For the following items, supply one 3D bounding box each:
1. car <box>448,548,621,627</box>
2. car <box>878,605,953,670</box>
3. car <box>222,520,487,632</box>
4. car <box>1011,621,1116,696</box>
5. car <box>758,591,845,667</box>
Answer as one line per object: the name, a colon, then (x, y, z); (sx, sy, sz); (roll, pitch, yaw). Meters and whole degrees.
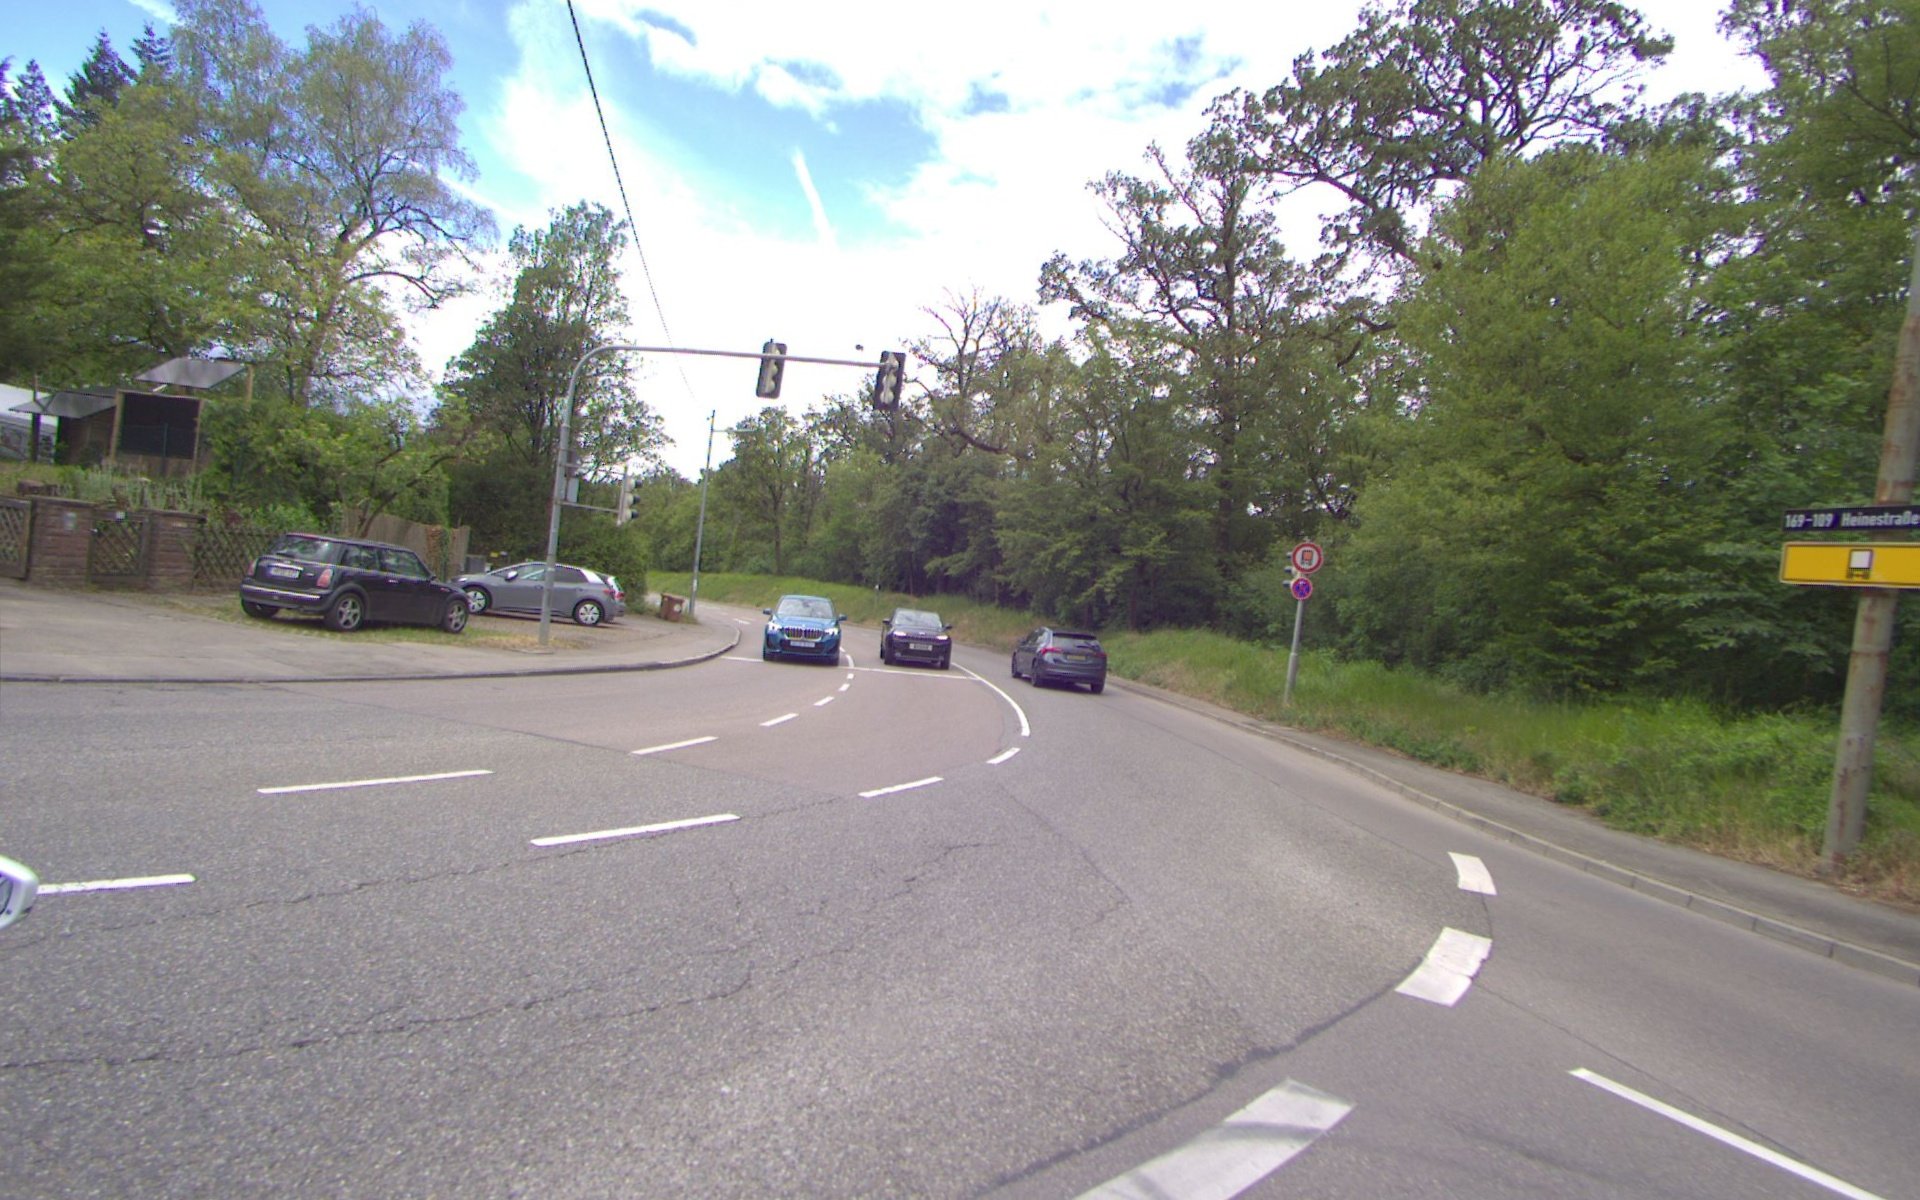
car: (-11.146, -0.291, 26.446); (3.951, 1.542, 1.652); (8, -3, -26)
car: (-1.296, 0.981, 27.888); (1.707, 1.526, 3.996); (5, 0, -6)
car: (-9.683, -0.300, 16.449); (1.625, 1.407, 3.607); (9, 0, 10)
car: (2.489, 1.391, 25.128); (1.675, 1.463, 3.996); (6, 0, -6)
car: (-3.962, 0.663, 25.190); (1.882, 1.597, 3.993); (5, 0, -9)
